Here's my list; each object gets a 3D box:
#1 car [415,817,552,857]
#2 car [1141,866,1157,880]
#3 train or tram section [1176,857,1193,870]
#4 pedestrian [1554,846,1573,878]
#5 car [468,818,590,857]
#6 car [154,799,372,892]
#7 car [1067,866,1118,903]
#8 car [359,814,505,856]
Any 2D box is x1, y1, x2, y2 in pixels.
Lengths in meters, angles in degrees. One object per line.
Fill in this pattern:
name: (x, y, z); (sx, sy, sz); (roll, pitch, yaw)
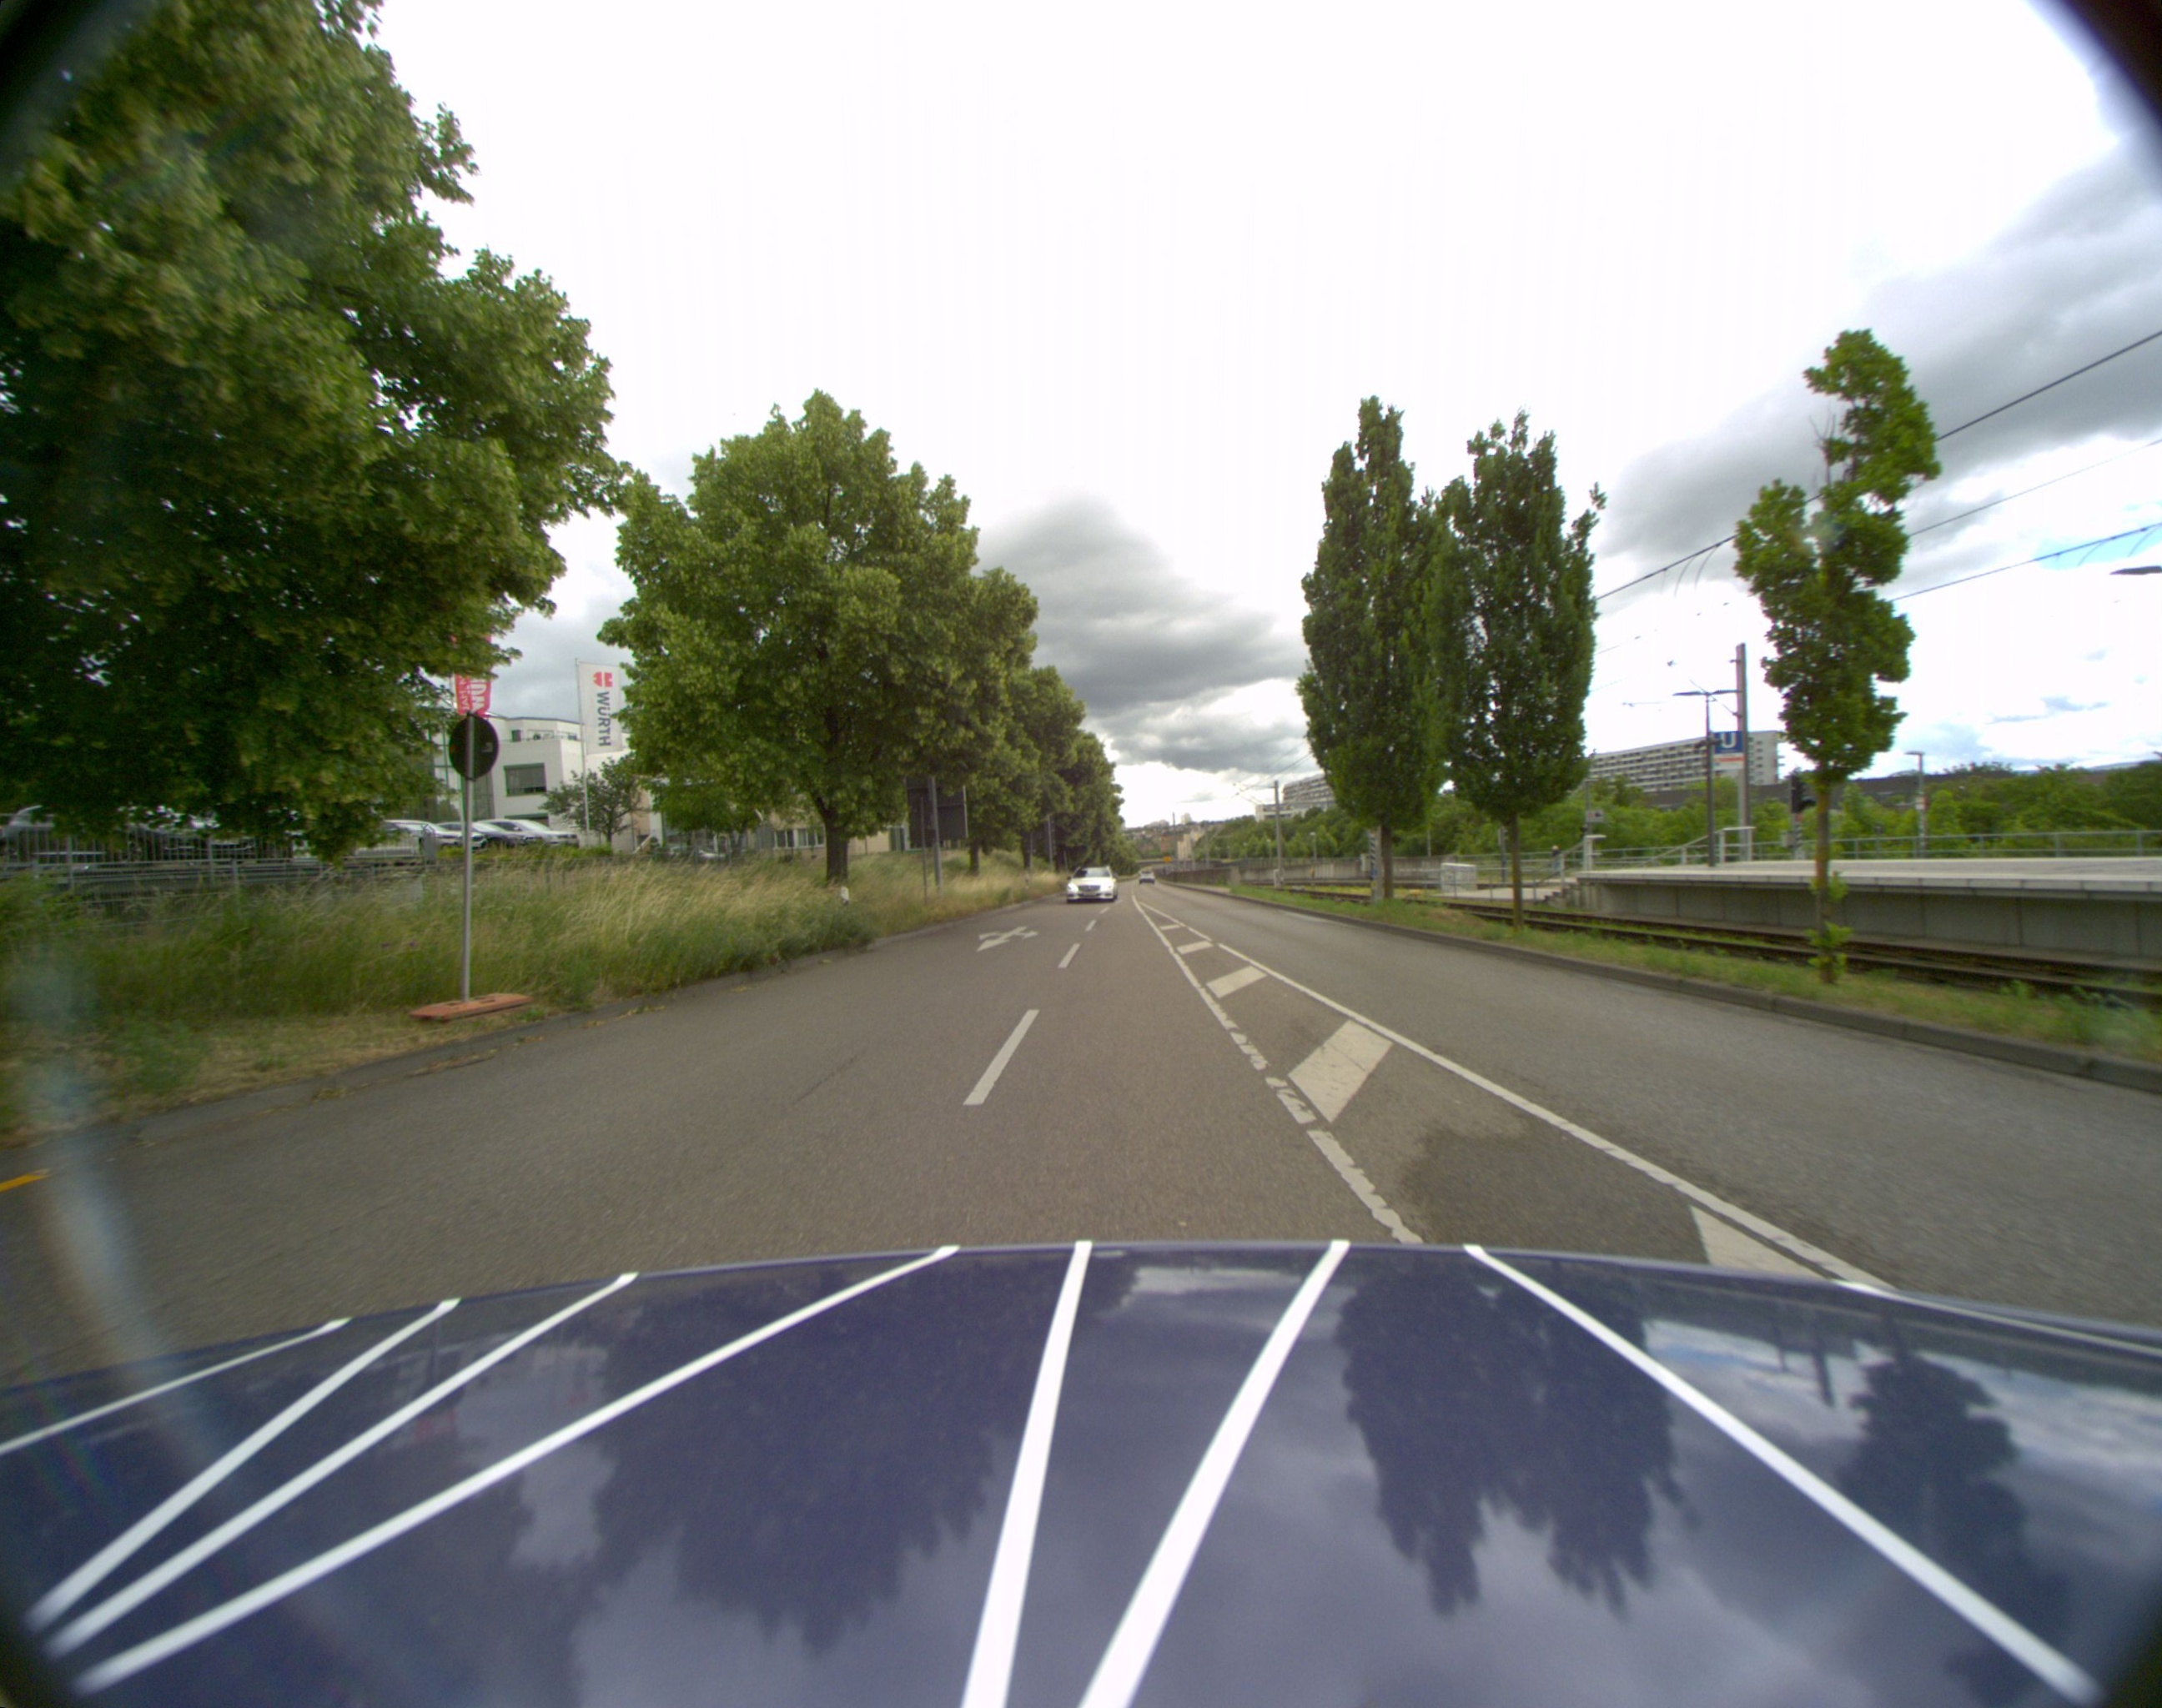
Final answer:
car: (-22.403, -0.612, 28.555); (3.934, 1.360, 1.756); (-1, 0, 7)
car: (7.891, 2.222, 87.907); (1.719, 1.512, 3.746); (-2, -1, 5)
train or tram section: (26.502, 2.431, 196.089); (2.787, 3.174, 18.481); (-2, -1, 3)
pedestrian: (24.320, 0.396, 38.324); (0.508, 1.615, 0.646); (-2, 0, 3)
car: (-22.894, -0.668, 31.591); (3.934, 1.474, 1.756); (-1, 0, 7)
car: (-19.682, -0.176, 18.356); (3.762, 1.947, 1.644); (-3, -1, 7)
car: (0.540, 1.190, 31.174); (1.738, 1.365, 4.002); (-2, -1, 5)
car: (-22.691, -0.645, 26.640); (3.762, 1.356, 1.756); (-1, 0, 7)
